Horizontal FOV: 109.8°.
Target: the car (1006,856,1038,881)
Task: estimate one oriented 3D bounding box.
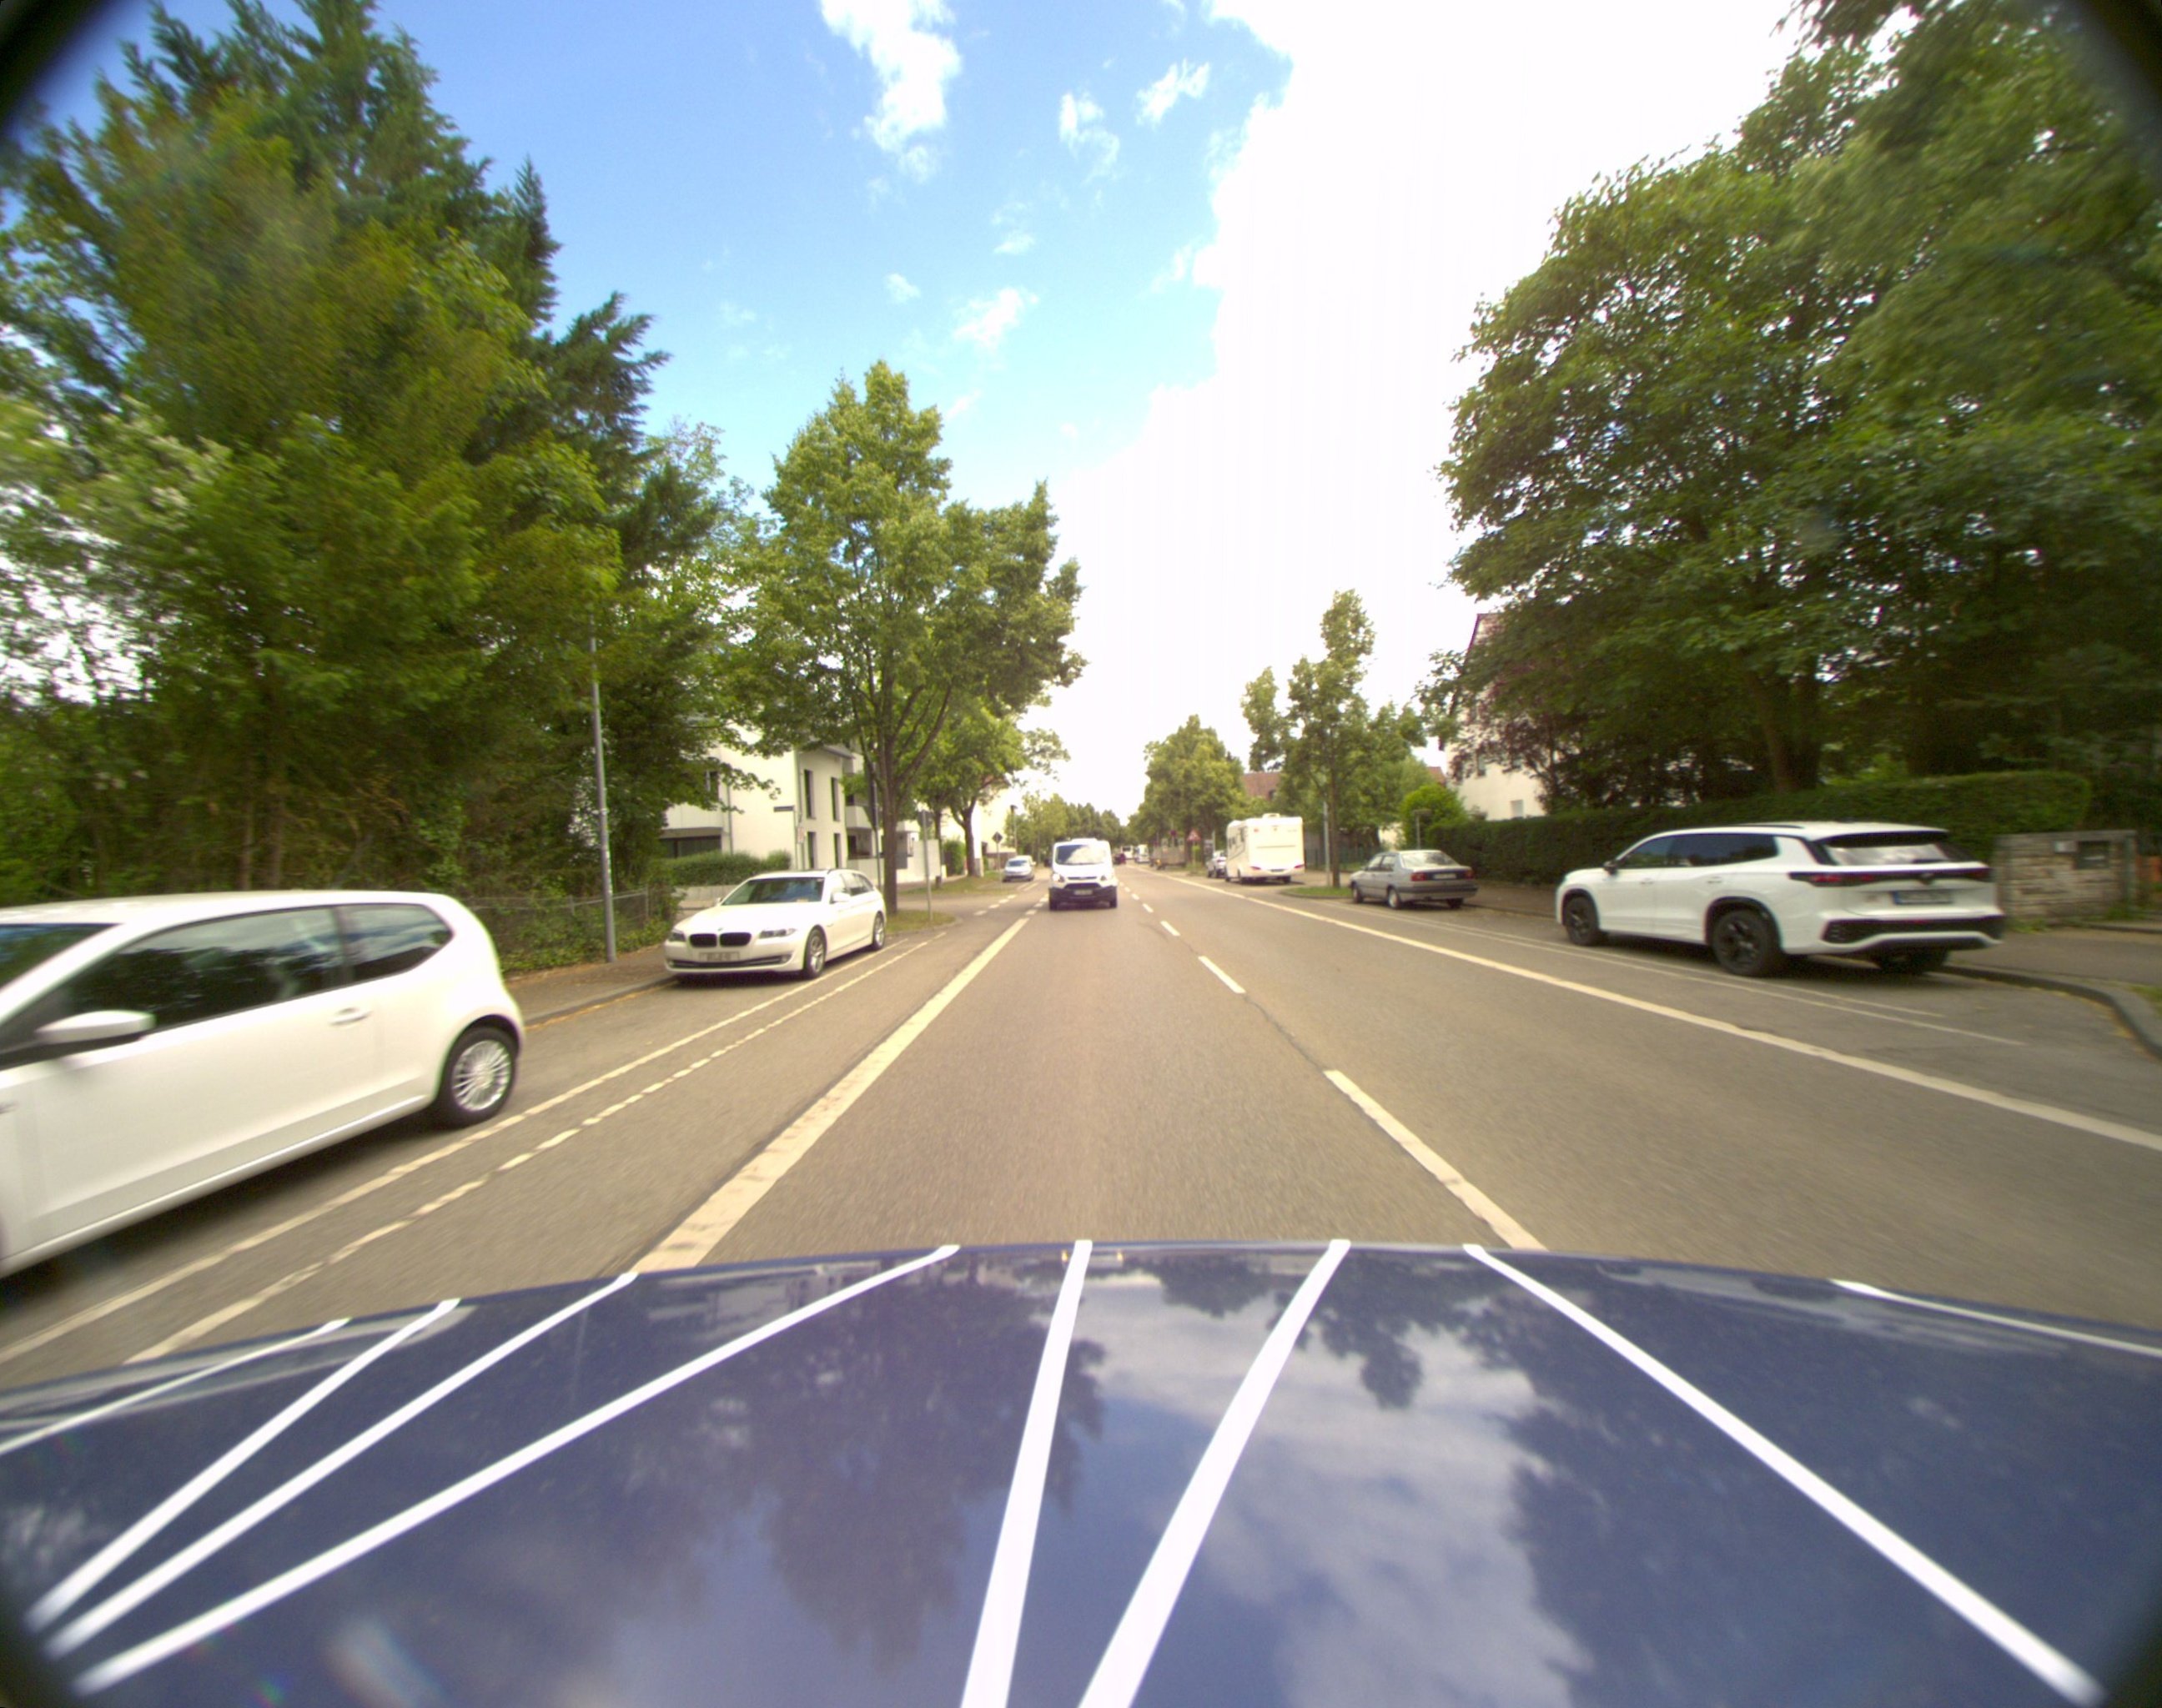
[{"bbox_3d":[-3.753,0.907,49.207,1.691,1.484,4.227,-2,0,0],"label":"car"}]

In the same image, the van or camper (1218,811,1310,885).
[{"bbox_3d":[8.267,-0.276,35.310,2.441,2.992,7.693,-2,0,1],"label":"van or camper"}]

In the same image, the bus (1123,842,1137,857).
[{"bbox_3d":[11.834,-1.102,182.815,2.811,3.269,18.049,2,1,5],"label":"bus"}]

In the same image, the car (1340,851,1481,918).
[{"bbox_3d":[8.175,0.679,19.308,1.559,1.461,4.451,-2,0,-1],"label":"car"}]

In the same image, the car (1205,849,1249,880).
[{"bbox_3d":[8.334,0.569,43.765,1.727,1.591,4.272,-2,0,1],"label":"car"}]

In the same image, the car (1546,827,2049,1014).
[{"bbox_3d":[7.973,0.610,9.292,1.821,1.642,4.699,-2,0,3],"label":"car"}]

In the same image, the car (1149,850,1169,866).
[{"bbox_3d":[8.967,0.414,87.498,1.865,1.544,4.618,-2,2,1],"label":"car"}]

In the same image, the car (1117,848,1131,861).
[{"bbox_3d":[6.333,0.082,113.093,1.764,1.792,4.768,-2,0,1],"label":"car"}]

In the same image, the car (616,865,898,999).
[{"bbox_3d":[-4.502,0.980,11.657,2.026,1.435,5.025,-2,0,1],"label":"car"}]

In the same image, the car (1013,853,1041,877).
[{"bbox_3d":[-3.917,0.773,55.481,1.636,1.656,3.648,-2,0,1],"label":"car"}]

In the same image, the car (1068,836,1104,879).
[{"bbox_3d":[0.382,0.195,49.007,1.998,2.584,4.001,-3,0,3],"label":"car"}]

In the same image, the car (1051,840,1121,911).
[{"bbox_3d":[0.062,0.624,25.052,1.999,2.002,5.317,-2,0,-2],"label":"car"}]

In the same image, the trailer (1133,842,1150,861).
[{"bbox_3d":[9.673,-0.421,120.642,2.377,2.946,7.013,-2,0,6],"label":"trailer"}]

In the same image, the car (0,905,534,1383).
[{"bbox_3d":[-4.483,1.088,3.212,1.620,1.451,3.657,-2,0,1],"label":"car"}]

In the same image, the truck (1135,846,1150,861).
[{"bbox_3d":[10.289,-0.108,127.349,2.300,2.274,6.465,-2,0,6],"label":"truck"}]

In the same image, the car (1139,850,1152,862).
[{"bbox_3d":[9.626,0.272,114.018,1.693,1.674,4.225,-2,1,2],"label":"car"}]

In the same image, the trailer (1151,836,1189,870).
[{"bbox_3d":[8.472,-0.153,72.876,2.680,2.924,7.474,-3,1,0],"label":"trailer"}]
